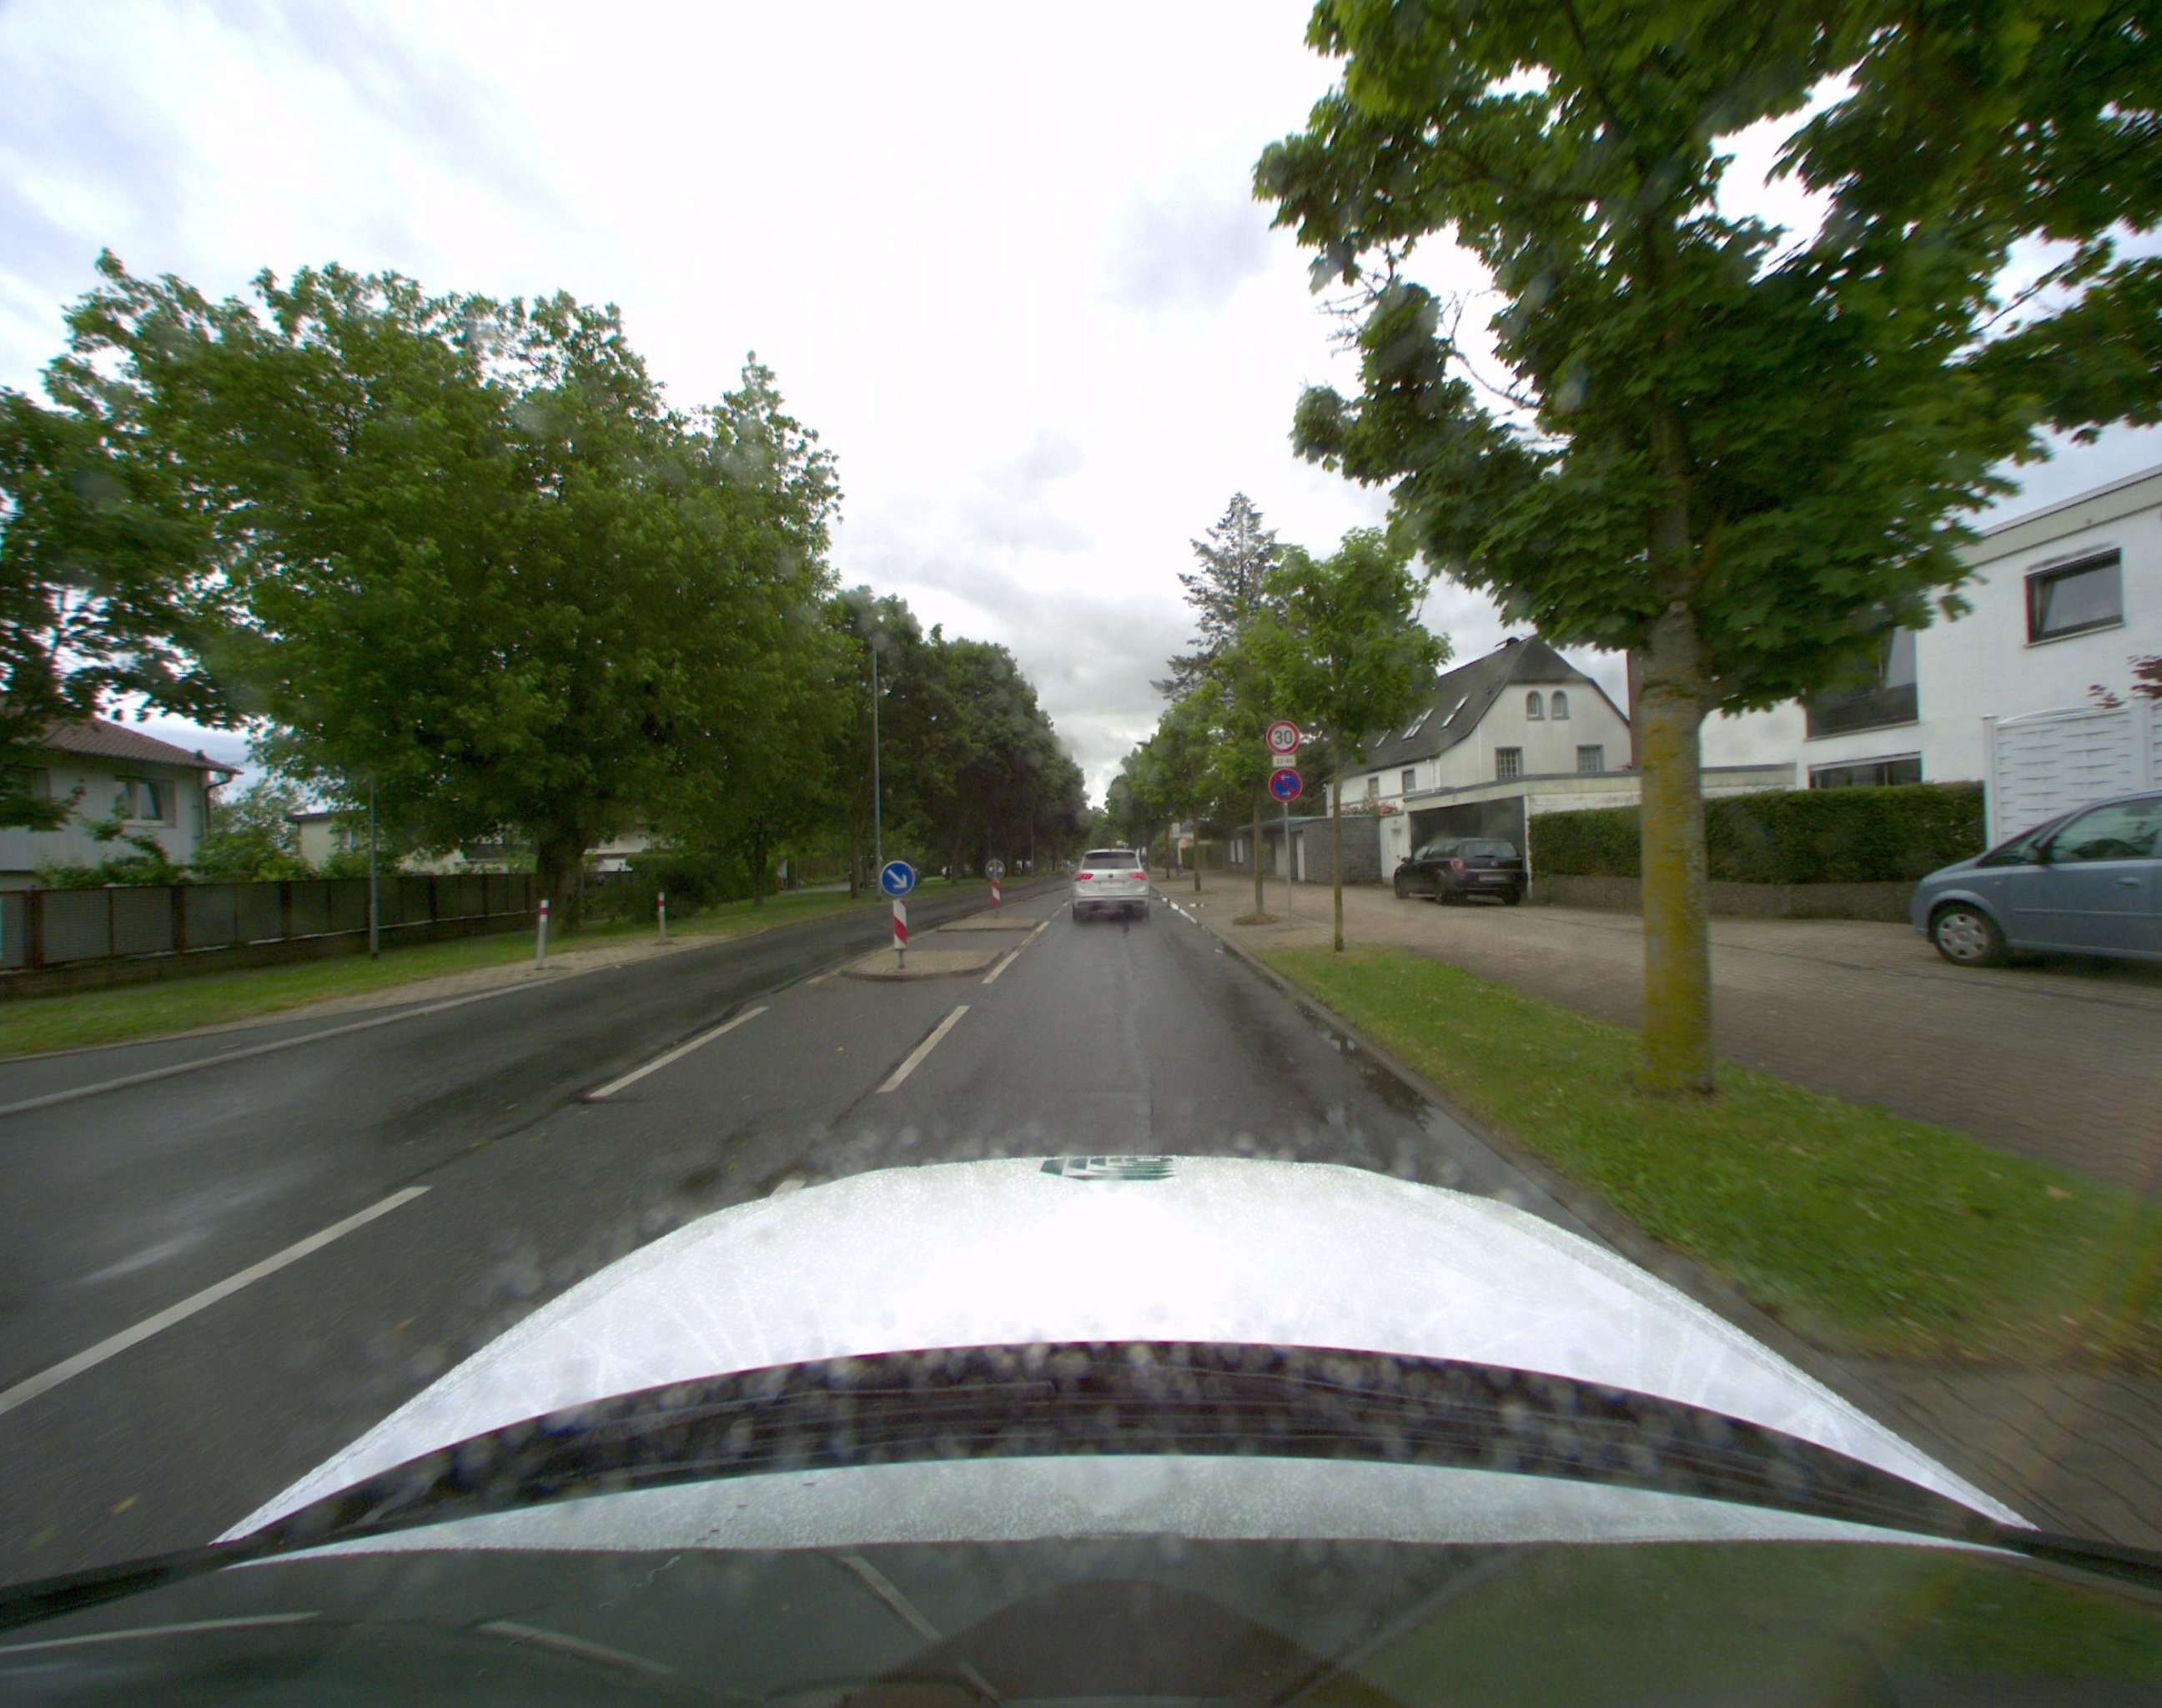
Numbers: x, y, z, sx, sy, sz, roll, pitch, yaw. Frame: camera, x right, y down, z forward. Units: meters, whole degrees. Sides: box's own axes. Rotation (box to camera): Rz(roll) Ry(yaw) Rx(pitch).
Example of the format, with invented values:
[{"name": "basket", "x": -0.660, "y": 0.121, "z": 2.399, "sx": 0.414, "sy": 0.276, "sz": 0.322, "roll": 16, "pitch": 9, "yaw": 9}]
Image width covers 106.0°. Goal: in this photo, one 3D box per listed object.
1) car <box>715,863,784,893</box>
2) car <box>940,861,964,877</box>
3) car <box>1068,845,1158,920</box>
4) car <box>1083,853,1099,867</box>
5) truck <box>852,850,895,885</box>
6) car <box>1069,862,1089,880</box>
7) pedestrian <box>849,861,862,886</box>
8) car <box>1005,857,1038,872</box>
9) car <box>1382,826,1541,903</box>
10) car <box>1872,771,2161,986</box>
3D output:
[{"name": "car", "x": -22.633, "y": 1.599, "z": 55.692, "sx": 3.985, "sy": 1.816, "sz": 1.874, "roll": -2, "pitch": 0, "yaw": -9}, {"name": "car", "x": -13.314, "y": 1.559, "z": 83.912, "sx": 1.846, "sy": 1.482, "sz": 3.976, "roll": -2, "pitch": 0, "yaw": -18}, {"name": "car", "x": 0.723, "y": 0.628, "z": 20.244, "sx": 1.990, "sy": 1.632, "sz": 3.999, "roll": -1, "pitch": 0, "yaw": 0}, {"name": "car", "x": 1.270, "y": 0.773, "z": 101.569, "sx": 1.749, "sy": 1.648, "sz": 4.002, "roll": -1, "pitch": 0, "yaw": 2}, {"name": "truck", "x": -16.663, "y": 1.091, "z": 65.685, "sx": 2.280, "sy": 2.597, "sz": 5.865, "roll": -2, "pitch": 0, "yaw": -4}, {"name": "car", "x": -0.166, "y": 1.621, "z": 79.243, "sx": 1.808, "sy": 1.648, "sz": 4.001, "roll": -1, "pitch": 0, "yaw": 1}, {"name": "pedestrian", "x": -17.174, "y": 1.449, "z": 62.056, "sx": 0.707, "sy": 1.840, "sz": 0.823, "roll": -2, "pitch": 0, "yaw": -4}, {"name": "car", "x": -6.348, "y": 1.130, "z": 86.596, "sx": 1.854, "sy": 1.482, "sz": 3.959, "roll": -2, "pitch": 0, "yaw": -32}, {"name": "car", "x": 8.689, "y": 0.208, "z": 19.071, "sx": 1.763, "sy": 1.498, "sz": 4.548, "roll": -3, "pitch": 0, "yaw": 3}, {"name": "car", "x": 8.988, "y": 0.144, "z": 6.399, "sx": 1.736, "sy": 1.611, "sz": 4.003, "roll": -3, "pitch": 0, "yaw": 3}]
